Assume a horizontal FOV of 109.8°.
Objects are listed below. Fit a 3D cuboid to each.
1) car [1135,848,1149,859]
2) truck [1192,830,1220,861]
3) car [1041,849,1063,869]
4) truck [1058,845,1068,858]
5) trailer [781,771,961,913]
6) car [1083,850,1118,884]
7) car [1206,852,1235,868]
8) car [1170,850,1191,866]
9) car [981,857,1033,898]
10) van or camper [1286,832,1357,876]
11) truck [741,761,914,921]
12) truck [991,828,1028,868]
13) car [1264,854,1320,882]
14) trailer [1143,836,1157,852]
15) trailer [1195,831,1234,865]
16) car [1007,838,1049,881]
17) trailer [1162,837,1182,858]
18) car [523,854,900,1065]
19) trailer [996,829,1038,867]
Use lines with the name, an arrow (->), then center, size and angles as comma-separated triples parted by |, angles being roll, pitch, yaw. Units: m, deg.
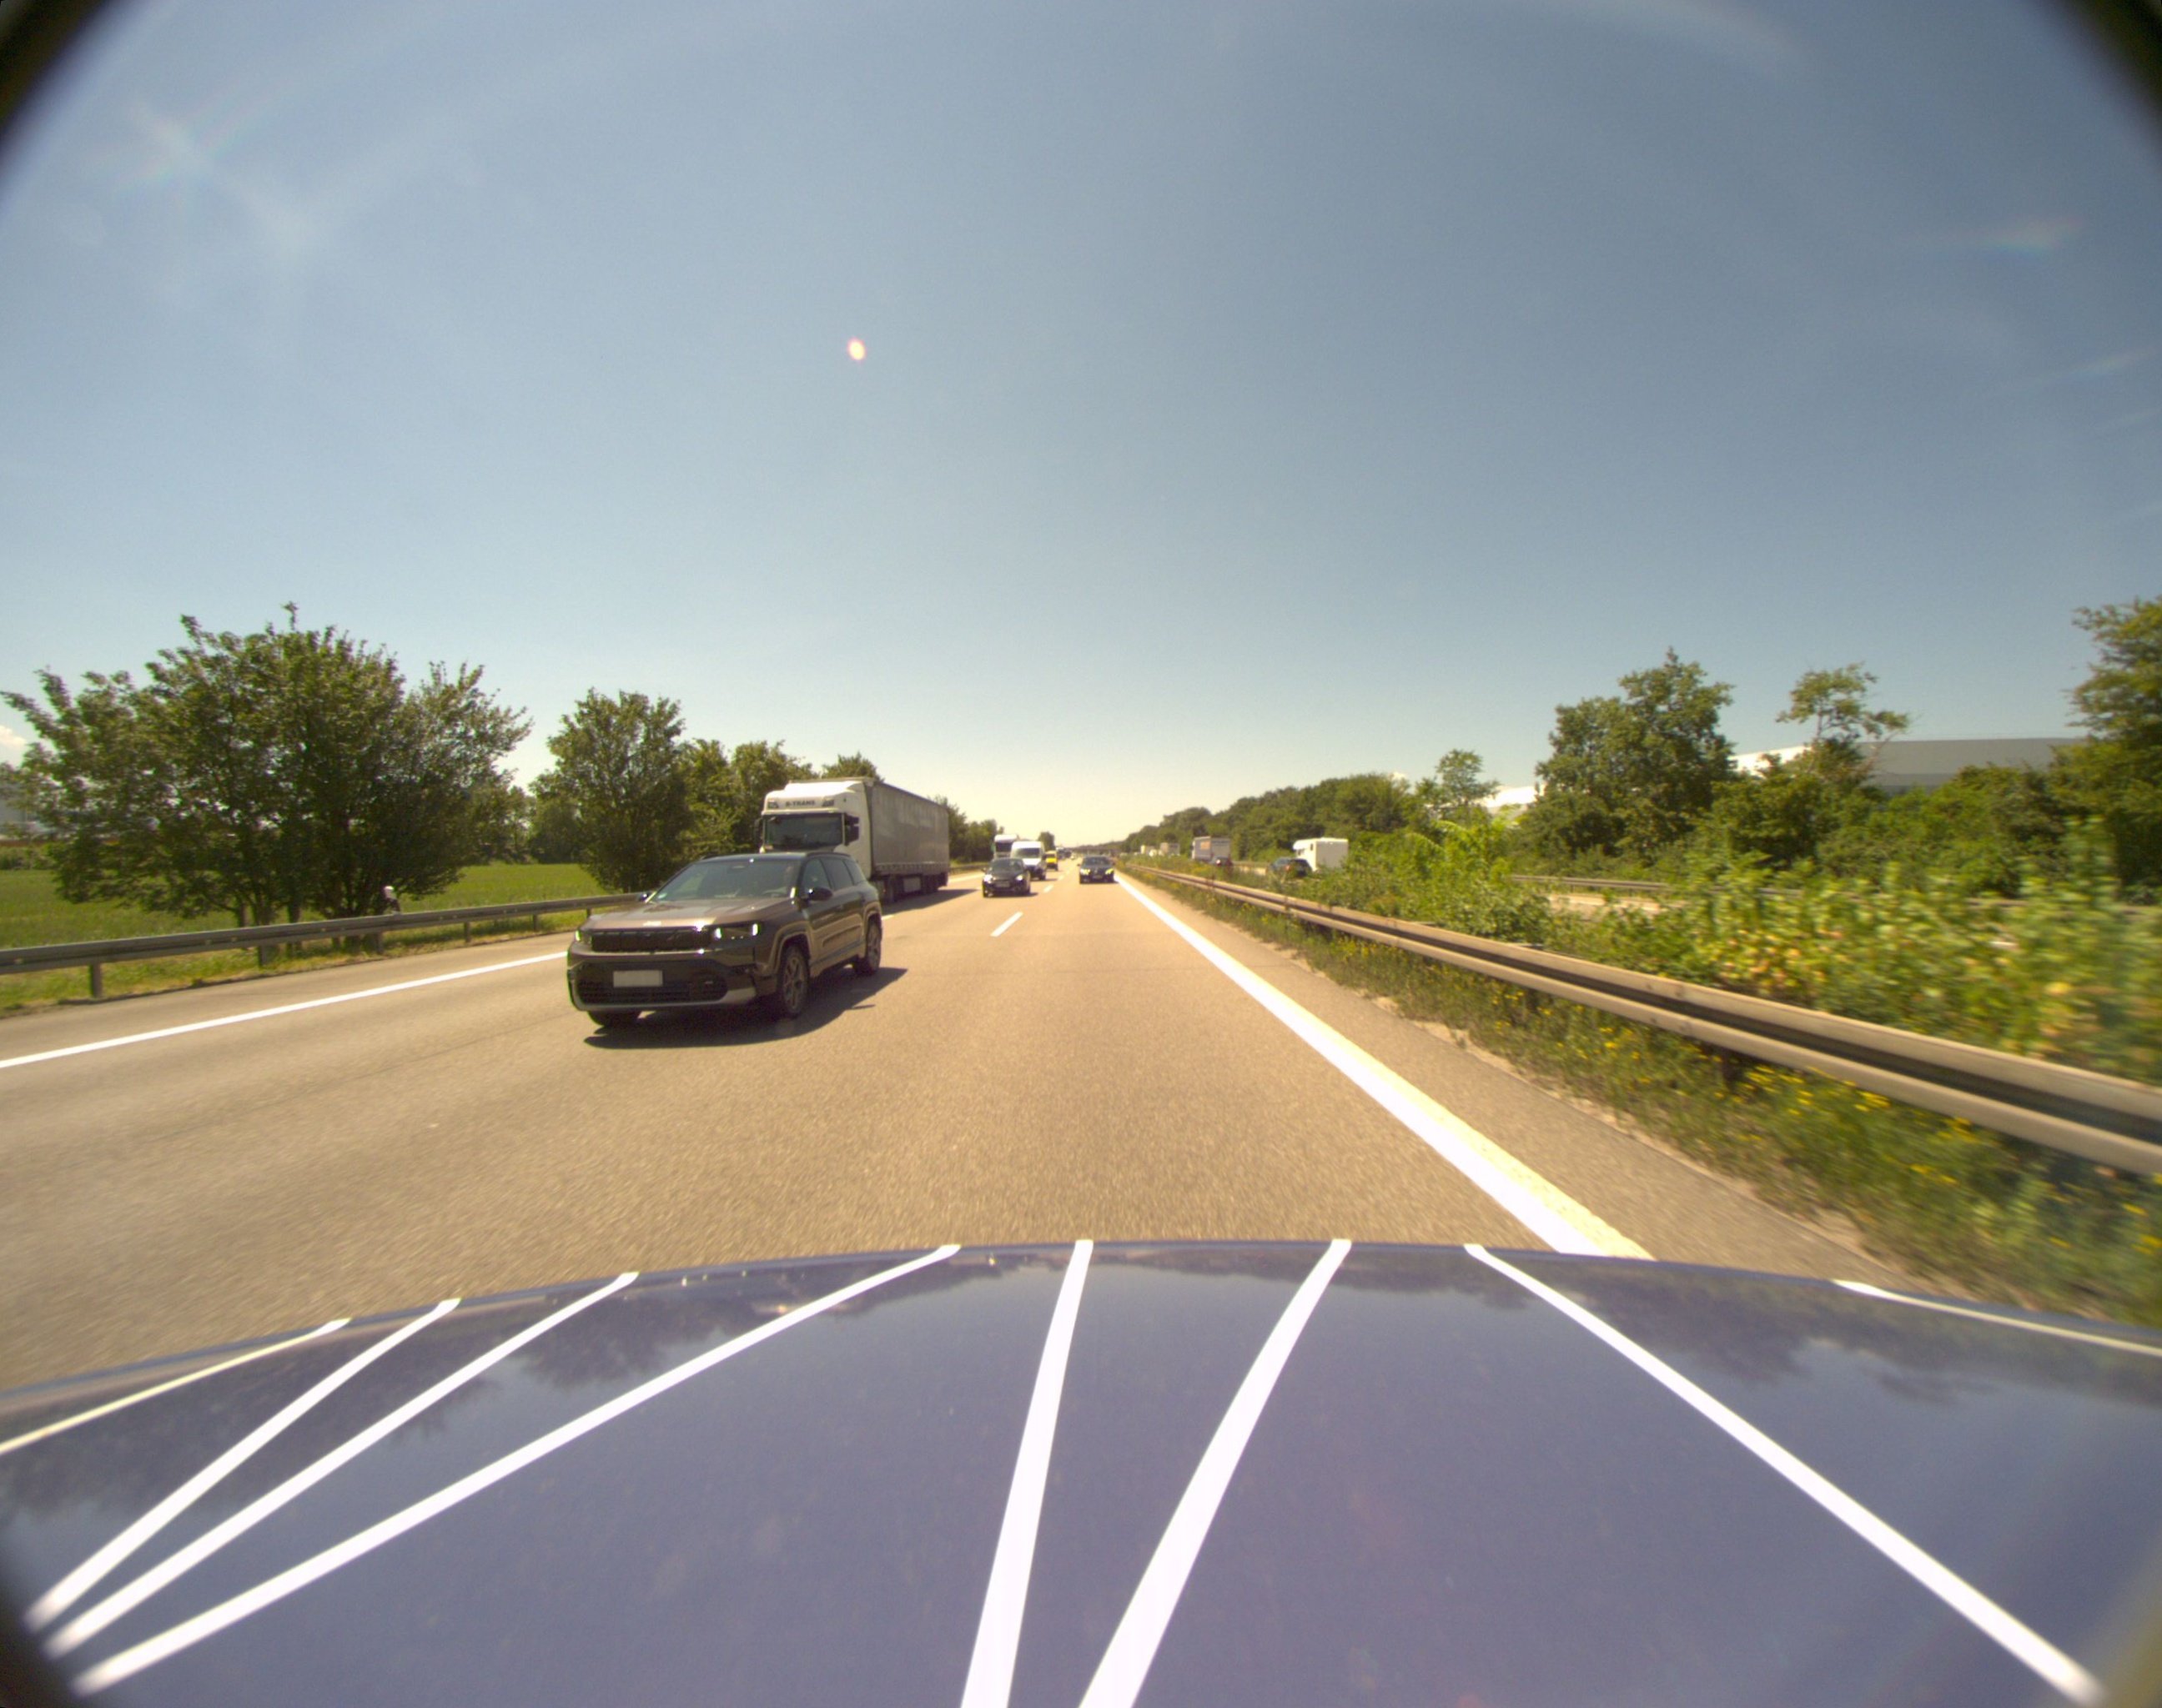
car -> 11.365, -0.088, 142.320 | 1.999, 2.061, 4.712 | -2, 1, -1
truck -> 17.730, -1.231, 108.360 | 3.013, 4.188, 6.309 | 1, 2, 1
car -> -2.903, 0.471, 77.181 | 1.958, 1.939, 3.999 | -2, 1, 0
truck -> -5.562, -0.804, 230.406 | 2.976, 3.626, 7.148 | -2, 1, -2
trailer -> -7.605, -0.430, 30.623 | 2.817, 4.279, 14.254 | -2, 0, 1
car -> 1.035, 0.656, 40.410 | 1.690, 1.646, 3.462 | -2, 1, 2
car -> 13.692, 0.603, 74.683 | 1.823, 1.543, 3.863 | 0, 0, -6
car -> 11.079, 0.460, 84.868 | 1.738, 1.606, 4.590 | 4, 1, 0
car -> -2.842, 0.896, 29.864 | 1.692, 1.465, 3.432 | -1, 0, -1
van or camper -> 17.563, -0.039, 55.937 | 2.857, 2.952, 7.446 | 1, 1, 1
truck -> -7.747, -0.378, 24.402 | 2.817, 4.279, 7.193 | -2, 1, 1
truck -> -7.471, -0.654, 80.415 | 2.699, 3.943, 7.704 | -2, 0, 3
car -> 12.334, 0.786, 44.789 | 1.962, 1.459, 4.751 | 1, 0, 0
trailer -> 18.250, -2.659, 201.991 | 2.746, 4.061, 14.347 | 1, 0, 2
trailer -> 17.640, -0.987, 101.610 | 2.984, 4.188, 13.731 | 1, 2, 1
car -> -3.278, 0.290, 48.224 | 2.159, 2.494, 5.945 | -2, 1, 0
trailer -> 19.196, -1.405, 160.890 | 2.764, 4.079, 14.052 | 2, 0, 1
car -> -3.662, 0.891, 8.743 | 1.872, 1.665, 4.746 | -2, 1, 1
trailer -> -7.116, -0.684, 86.679 | 2.699, 3.943, 13.963 | -2, 0, 3
